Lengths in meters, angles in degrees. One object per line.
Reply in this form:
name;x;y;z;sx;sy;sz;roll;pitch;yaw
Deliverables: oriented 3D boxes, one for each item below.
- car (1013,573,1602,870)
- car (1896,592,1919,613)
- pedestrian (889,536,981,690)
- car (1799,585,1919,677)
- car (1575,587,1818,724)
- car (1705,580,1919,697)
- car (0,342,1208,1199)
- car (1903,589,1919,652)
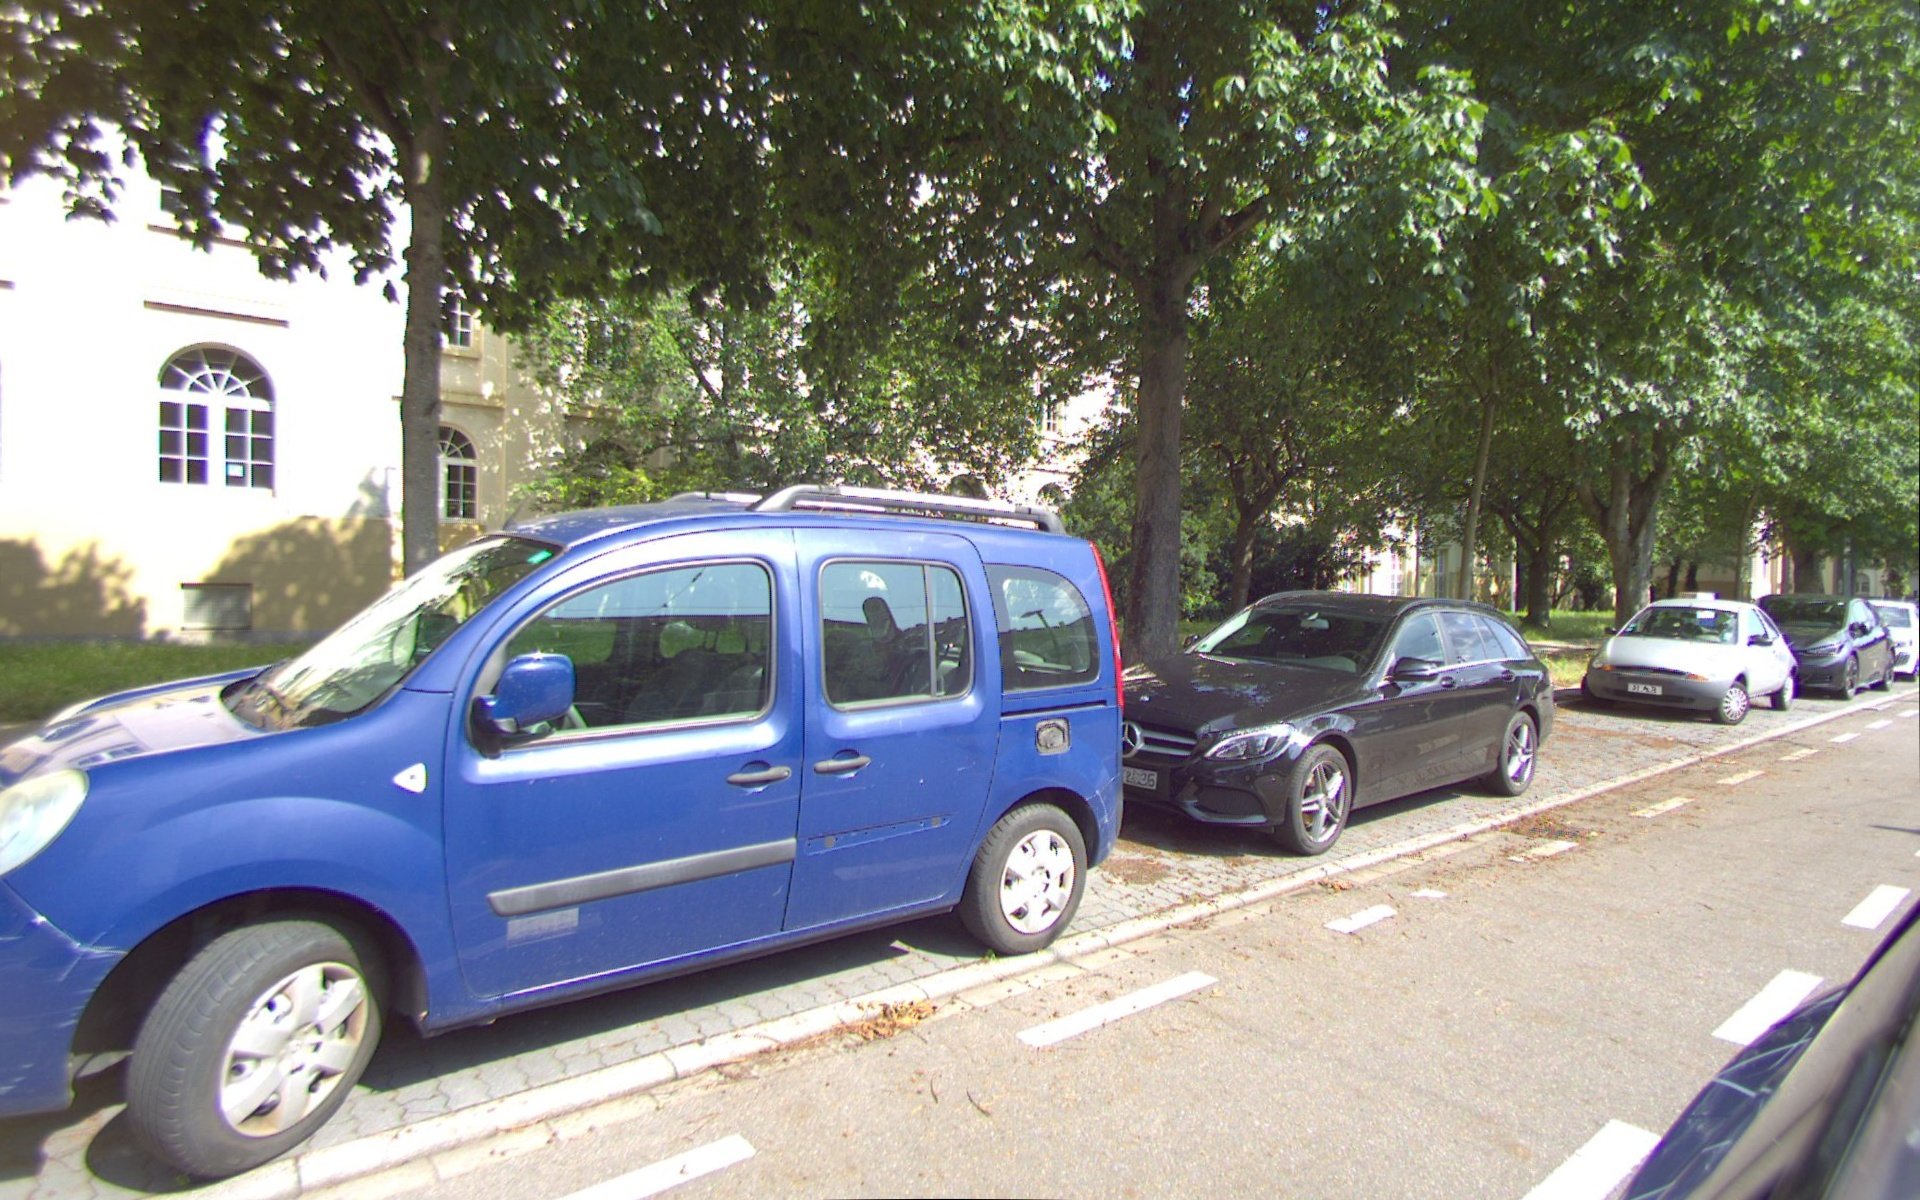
car;2.791;0.620;7.494;4.711;1.459;1.922;0;3;-40
car;77.686;0.226;80.156;1.820;1.676;4.843;-1;2;-28
pedestrian;-0.297;0.131;11.779;0.753;1.717;0.746;0;1;-38
car;18.086;0.531;19.833;4.179;1.542;1.839;0;4;-41
car;9.518;0.602;13.008;3.532;1.462;1.595;-1;3;-38
car;13.843;0.525;16.334;4.591;1.603;1.730;0;2;-38
car;-1.119;0.394;3.955;4.106;1.919;1.828;1;2;-37
car;24.813;0.525;25.158;3.497;1.478;1.559;-1;5;-41
